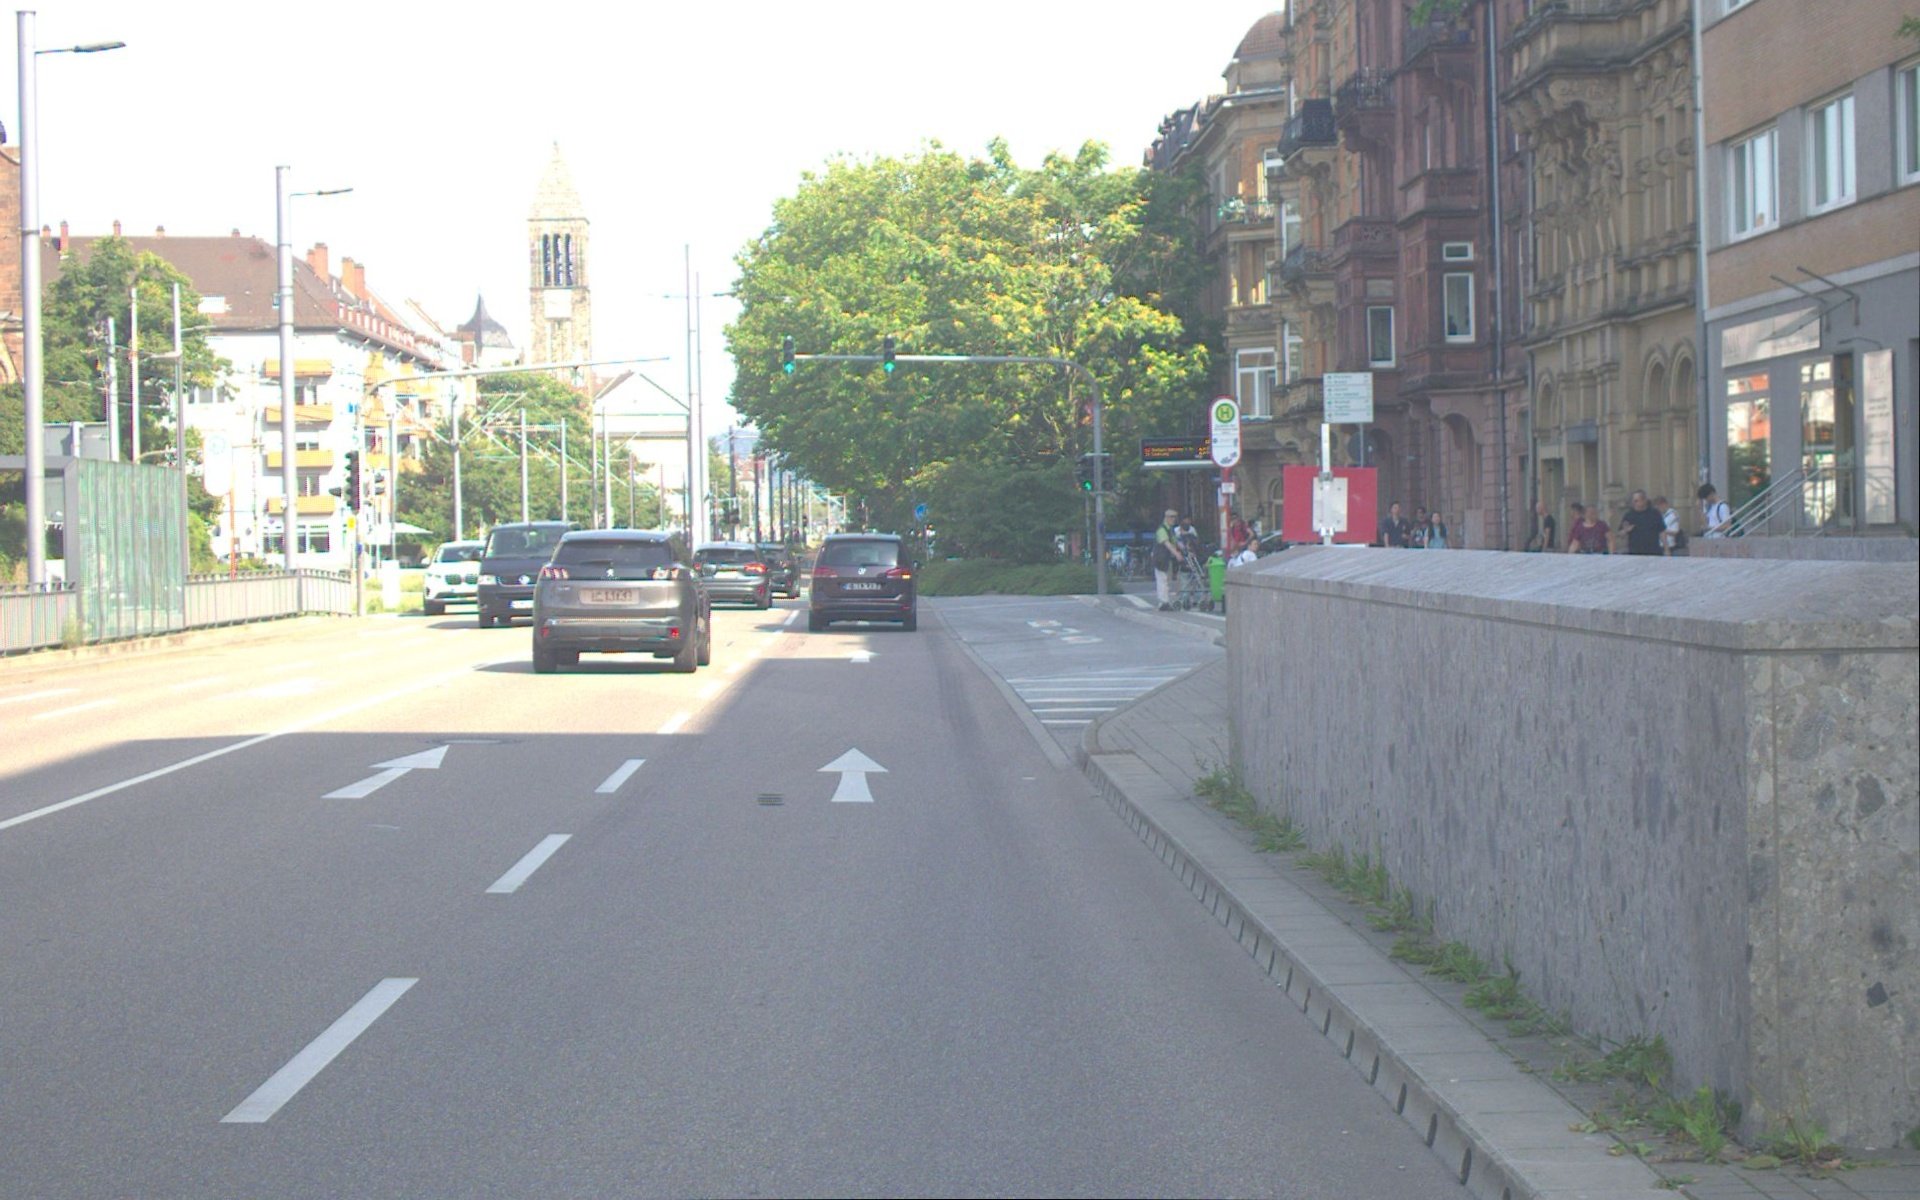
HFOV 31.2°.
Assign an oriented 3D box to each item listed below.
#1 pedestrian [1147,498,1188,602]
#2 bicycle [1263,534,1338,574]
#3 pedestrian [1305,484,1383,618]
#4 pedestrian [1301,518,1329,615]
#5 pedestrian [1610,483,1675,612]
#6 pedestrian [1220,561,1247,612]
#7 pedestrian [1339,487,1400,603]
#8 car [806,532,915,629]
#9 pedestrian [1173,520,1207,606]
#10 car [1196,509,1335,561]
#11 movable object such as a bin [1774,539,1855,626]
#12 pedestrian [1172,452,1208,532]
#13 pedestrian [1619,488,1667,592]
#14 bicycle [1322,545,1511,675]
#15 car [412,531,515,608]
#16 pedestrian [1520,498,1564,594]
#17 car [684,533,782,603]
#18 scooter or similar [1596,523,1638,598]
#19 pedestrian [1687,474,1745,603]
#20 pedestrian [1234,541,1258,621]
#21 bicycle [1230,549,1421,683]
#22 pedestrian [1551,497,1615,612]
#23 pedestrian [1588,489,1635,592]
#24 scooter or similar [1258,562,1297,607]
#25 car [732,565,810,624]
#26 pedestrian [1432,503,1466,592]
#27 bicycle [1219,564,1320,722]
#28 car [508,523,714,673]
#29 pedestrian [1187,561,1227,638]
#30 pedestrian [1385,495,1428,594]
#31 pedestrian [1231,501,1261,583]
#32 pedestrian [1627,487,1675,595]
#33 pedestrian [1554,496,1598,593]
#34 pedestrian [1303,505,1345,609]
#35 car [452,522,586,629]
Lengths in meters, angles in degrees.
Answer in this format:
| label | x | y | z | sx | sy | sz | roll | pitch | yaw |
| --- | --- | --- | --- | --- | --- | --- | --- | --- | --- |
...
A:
| label | x | y | z | sx | sy | sz | roll | pitch | yaw |
| --- | --- | --- | --- | --- | --- | --- | --- | --- | --- |
| pedestrian | 3.489 | -0.850 | 57.929 | 0.565 | 1.723 | 0.745 | -1 | 1 | -4 |
| bicycle | 9.156 | -1.243 | 92.400 | 1.927 | 1.044 | 0.500 | -1 | 1 | -6 |
| pedestrian | 5.354 | -0.686 | 47.969 | 0.925 | 1.825 | 0.801 | -1 | 1 | -4 |
| pedestrian | 6.338 | -0.603 | 61.379 | 0.341 | 1.726 | 0.806 | -1 | 1 | -4 |
| pedestrian | 9.623 | -0.745 | 48.481 | 0.720 | 1.781 | 0.856 | -1 | 1 | 0 |
| pedestrian | 4.458 | -0.227 | 56.088 | 0.303 | 0.817 | 0.604 | -1 | 1 | -8 |
| pedestrian | 6.171 | -0.835 | 51.862 | 0.749 | 1.723 | 0.801 | -1 | 1 | -4 |
| car | -1.705 | -0.373 | 60.100 | 1.831 | 1.615 | 4.357 | 0 | 1 | -1 |
| pedestrian | 4.375 | -0.711 | 65.489 | 0.528 | 1.606 | 0.703 | -1 | 1 | -4 |
| car | 9.929 | -2.117 | 111.757 | 4.179 | 1.558 | 2.000 | -1 | 1 | -5 |
| movable object such as a bin | 10.789 | -0.227 | 43.401 | 0.736 | 1.077 | 0.670 | -2 | 1 | -18 |
| pedestrian | 4.842 | -2.266 | 72.419 | 0.690 | 1.658 | 0.619 | -1 | 1 | -1 |
| pedestrian | 11.137 | -0.979 | 56.070 | 0.603 | 1.686 | 0.587 | -1 | 1 | -4 |
| bicycle | 4.181 | 0.086 | 31.555 | 1.633 | 1.144 | 0.601 | -1 | 1 | 1 |
| car | -11.139 | -0.721 | 77.333 | 1.713 | 1.606 | 4.505 | -2 | 1 | -1 |
| pedestrian | 10.501 | -0.972 | 62.078 | 0.629 | 1.713 | 0.691 | -1 | 1 | -1 |
| car | -4.838 | -0.703 | 73.658 | 1.864 | 1.419 | 4.357 | 0 | 1 | -1 |
| scooter or similar | 10.336 | -0.634 | 54.107 | 0.360 | 1.159 | 1.152 | -1 | 1 | -4 |
| pedestrian | 10.858 | -0.883 | 49.370 | 0.603 | 1.825 | 0.742 | -1 | 1 | -4 |
| pedestrian | 4.572 | -0.311 | 54.953 | 0.275 | 1.270 | 0.448 | -1 | 1 | -8 |
| bicycle | 3.272 | 0.137 | 30.781 | 1.632 | 1.144 | 0.385 | -1 | 1 | -6 |
| pedestrian | 8.851 | -0.653 | 48.852 | 0.720 | 1.605 | 0.856 | -1 | 1 | 0 |
| pedestrian | 10.798 | -0.980 | 56.965 | 0.603 | 1.686 | 0.587 | -1 | 1 | -4 |
| scooter or similar | 5.354 | -0.268 | 57.984 | 0.565 | 0.739 | 0.514 | -1 | 1 | -4 |
| car | -4.946 | -0.163 | 90.252 | 1.864 | 1.419 | 4.357 | 0 | 1 | -1 |
| pedestrian | 8.960 | -0.964 | 63.024 | 0.486 | 1.605 | 0.813 | -1 | 1 | 0 |
| bicycle | 2.354 | 0.308 | 26.293 | 0.407 | 1.144 | 1.657 | -1 | 1 | -7 |
| car | -3.965 | -0.073 | 39.674 | 1.993 | 1.615 | 4.357 | 0 | 1 | -1 |
| pedestrian | 4.156 | -0.018 | 57.912 | 0.565 | 1.273 | 0.597 | -1 | 1 | -5 |
| pedestrian | 8.186 | -1.019 | 63.116 | 0.617 | 1.798 | 1.071 | -1 | 1 | 0 |
| pedestrian | 5.978 | -1.222 | 71.908 | 0.481 | 1.696 | 0.703 | -1 | 1 | -4 |
| pedestrian | 11.129 | -0.957 | 55.373 | 0.603 | 1.725 | 0.511 | -1 | 1 | -4 |
| pedestrian | 10.578 | -0.958 | 59.037 | 0.603 | 1.649 | 0.587 | -1 | 1 | -4 |
| pedestrian | 6.123 | -0.731 | 57.791 | 0.565 | 1.723 | 0.617 | -1 | 1 | -4 |
| car | -8.352 | -0.501 | 65.474 | 1.993 | 1.898 | 4.717 | -2 | 1 | -1 |
